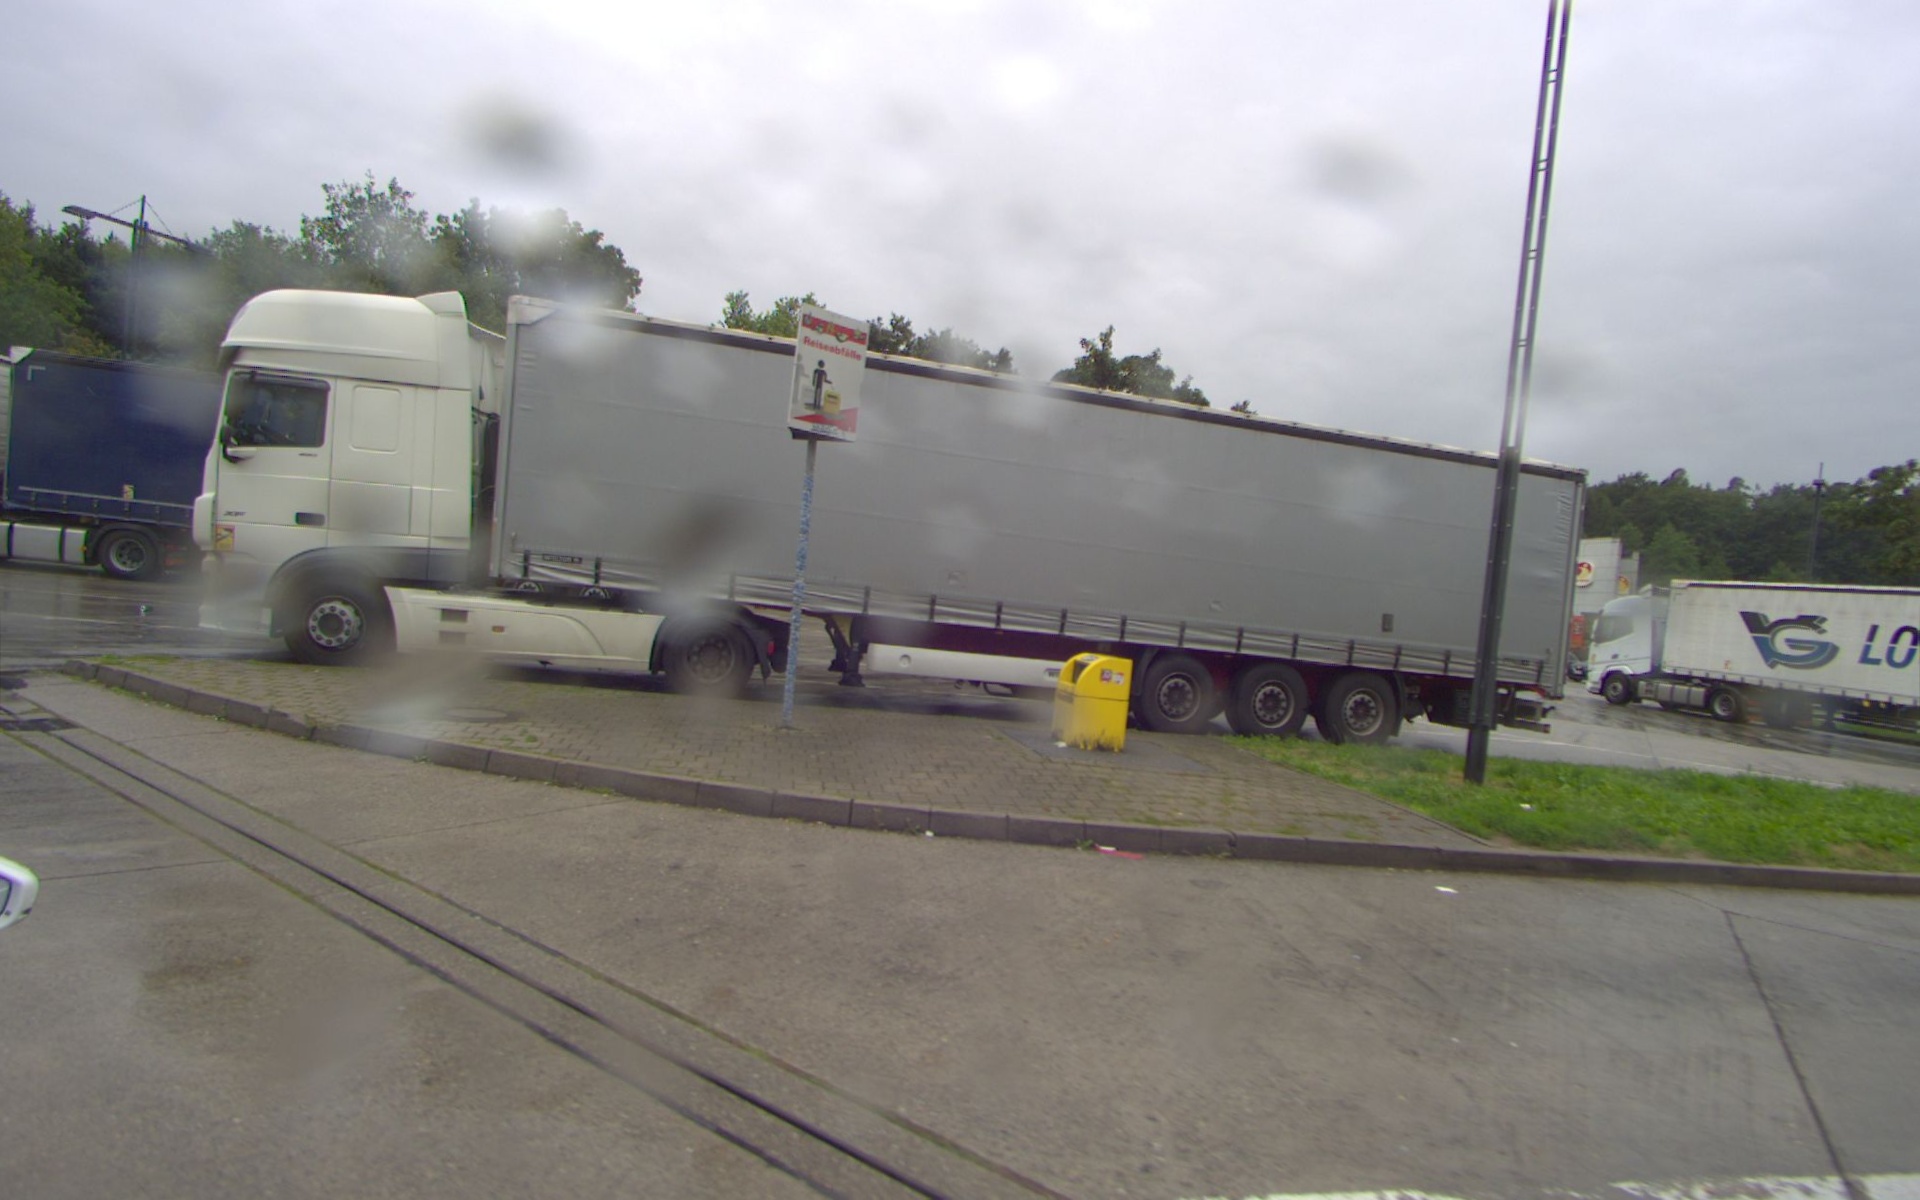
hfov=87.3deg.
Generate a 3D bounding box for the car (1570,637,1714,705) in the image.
[{"bbox_3d":[35.650,3.712,52.612,6.547,2.665,2.240,8,-2,-14],"label":"car"}]

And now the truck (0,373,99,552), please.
[{"bbox_3d":[-25.904,-3.638,25.068,5.900,4.204,2.818,6,2,-13],"label":"truck"}]

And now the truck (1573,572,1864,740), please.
[{"bbox_3d":[23.001,1.618,31.063,2.625,4.324,6.773,8,-2,-12],"label":"truck"}]

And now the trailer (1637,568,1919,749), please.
[{"bbox_3d":[24.253,1.548,24.984,2.625,4.306,14.144,8,-2,-12],"label":"trailer"}]

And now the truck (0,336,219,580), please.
[{"bbox_3d":[-18.252,-2.771,19.578,5.215,4.200,2.819,6,2,-12],"label":"truck"}]

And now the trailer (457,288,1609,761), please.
[{"bbox_3d":[1.378,-0.571,13.186,13.725,3.971,2.836,6,2,-13],"label":"trailer"}]

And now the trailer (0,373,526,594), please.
[{"bbox_3d":[-19.293,-2.976,26.632,13.741,4.204,2.818,6,1,-14],"label":"trailer"}]

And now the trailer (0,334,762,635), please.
[{"bbox_3d":[-11.304,-2.093,21.067,13.762,4.225,2.819,6,2,-12],"label":"trailer"}]

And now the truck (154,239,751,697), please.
[{"bbox_3d":[-5.331,-1.252,11.671,5.323,3.963,2.823,6,2,-13],"label":"truck"}]
